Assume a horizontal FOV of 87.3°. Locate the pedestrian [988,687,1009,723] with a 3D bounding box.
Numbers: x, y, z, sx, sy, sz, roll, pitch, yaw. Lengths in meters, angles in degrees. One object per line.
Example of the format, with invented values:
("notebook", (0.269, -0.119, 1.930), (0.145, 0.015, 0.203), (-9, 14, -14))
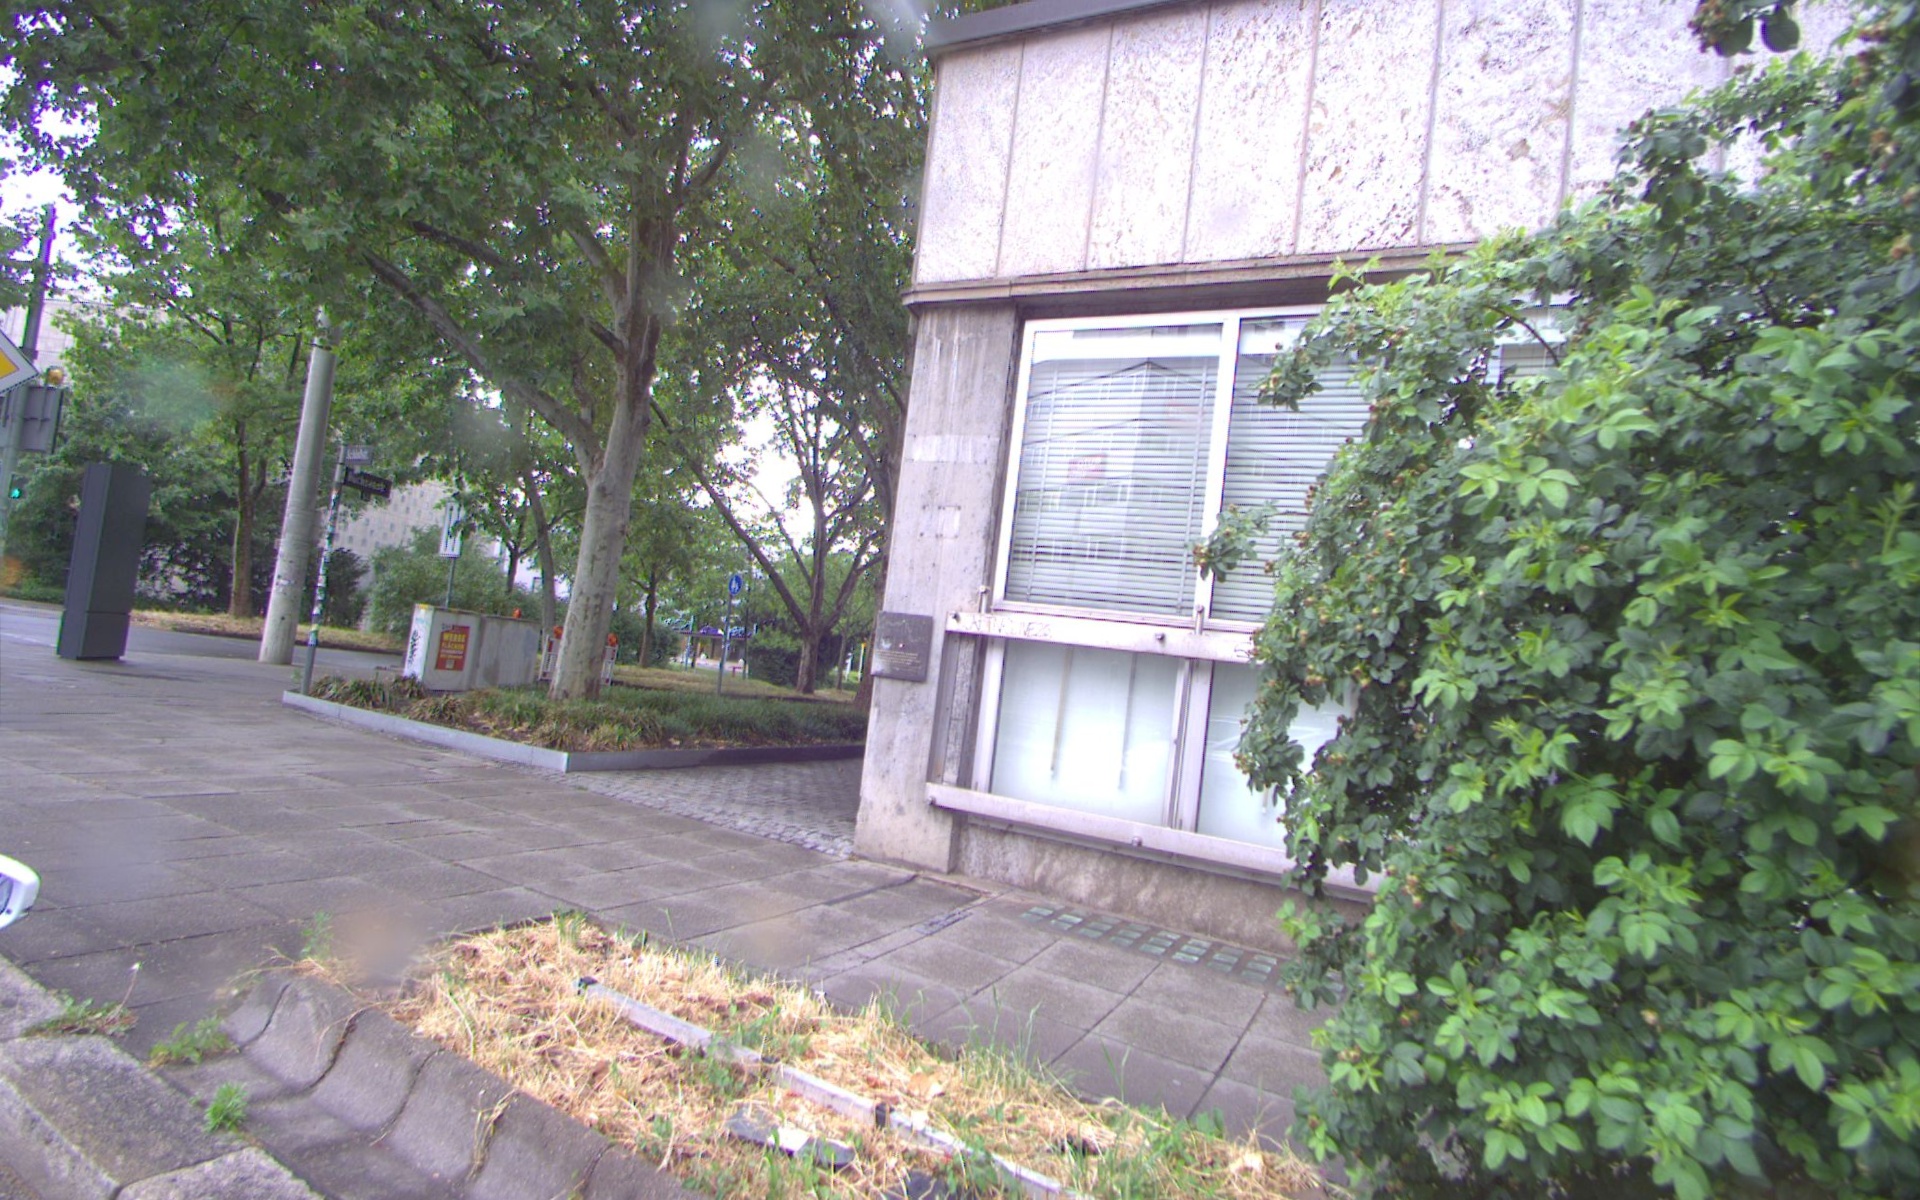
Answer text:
("pedestrian", (1.845, 5.023, 48.136), (0.512, 1.655, 0.936), (6, -4, 21))
